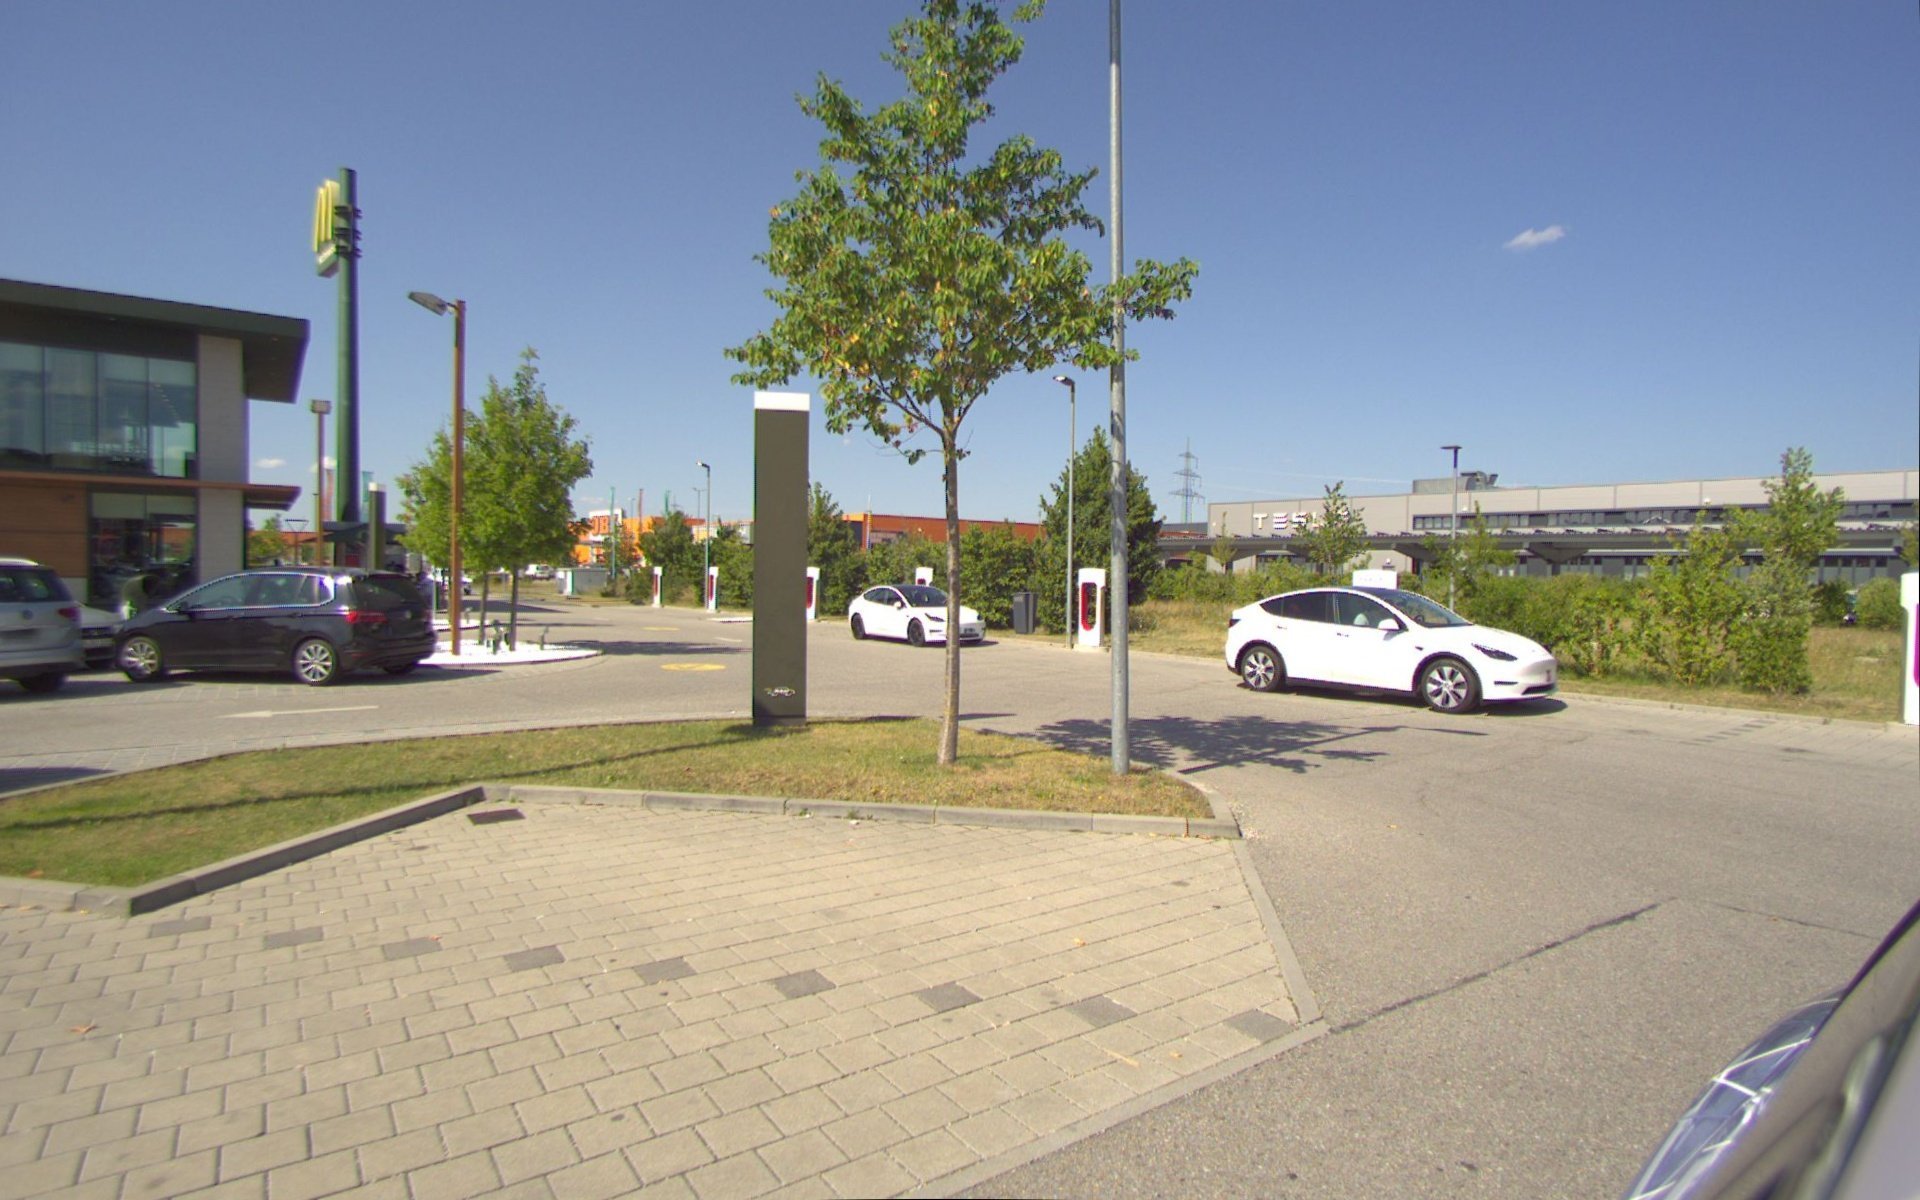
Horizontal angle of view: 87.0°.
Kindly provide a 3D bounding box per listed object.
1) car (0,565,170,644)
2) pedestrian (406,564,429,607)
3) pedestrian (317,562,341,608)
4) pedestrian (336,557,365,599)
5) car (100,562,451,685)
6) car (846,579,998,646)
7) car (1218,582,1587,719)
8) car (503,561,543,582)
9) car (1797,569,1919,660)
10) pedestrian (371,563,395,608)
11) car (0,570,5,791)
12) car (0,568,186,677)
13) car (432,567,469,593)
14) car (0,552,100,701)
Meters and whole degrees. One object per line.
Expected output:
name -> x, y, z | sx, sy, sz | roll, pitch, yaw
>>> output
car -> -20.486, 0.057, 22.945 | 1.688, 1.633, 4.027 | 0, 1, 8
pedestrian -> -19.896, -0.538, 37.101 | 0.688, 1.579, 0.722 | 0, 1, -35
pedestrian -> -22.100, -0.518, 35.432 | 0.688, 1.579, 0.722 | 0, 1, -35
pedestrian -> -23.444, -0.846, 38.930 | 0.695, 1.579, 0.716 | 0, 0, 26
car -> -9.469, 0.276, 14.152 | 3.932, 1.571, 1.751 | 0, 1, 8
car -> -1.050, 0.243, 25.448 | 1.807, 1.497, 4.334 | 0, 1, -34
car -> 6.167, 0.568, 14.607 | 1.809, 1.613, 4.573 | 0, 2, -39
car -> -50.369, -3.267, 116.725 | 3.927, 2.332, 1.998 | 0, 1, -38
car -> 19.869, 0.249, 21.498 | 4.172, 1.772, 1.921 | 0, 1, -30
pedestrian -> -20.614, -0.525, 36.150 | 0.688, 1.579, 0.722 | 0, 1, -35
car -> -7.616, 0.567, 4.835 | 1.942, 1.478, 4.199 | 0, 1, 7
car -> -14.622, 0.271, 15.465 | 4.571, 1.505, 1.890 | 1, 1, 11
car -> -31.844, -1.254, 63.231 | 1.729, 1.581, 3.886 | 0, 1, -32
car -> -12.879, 0.285, 12.122 | 4.049, 1.695, 1.808 | 0, 1, 11
